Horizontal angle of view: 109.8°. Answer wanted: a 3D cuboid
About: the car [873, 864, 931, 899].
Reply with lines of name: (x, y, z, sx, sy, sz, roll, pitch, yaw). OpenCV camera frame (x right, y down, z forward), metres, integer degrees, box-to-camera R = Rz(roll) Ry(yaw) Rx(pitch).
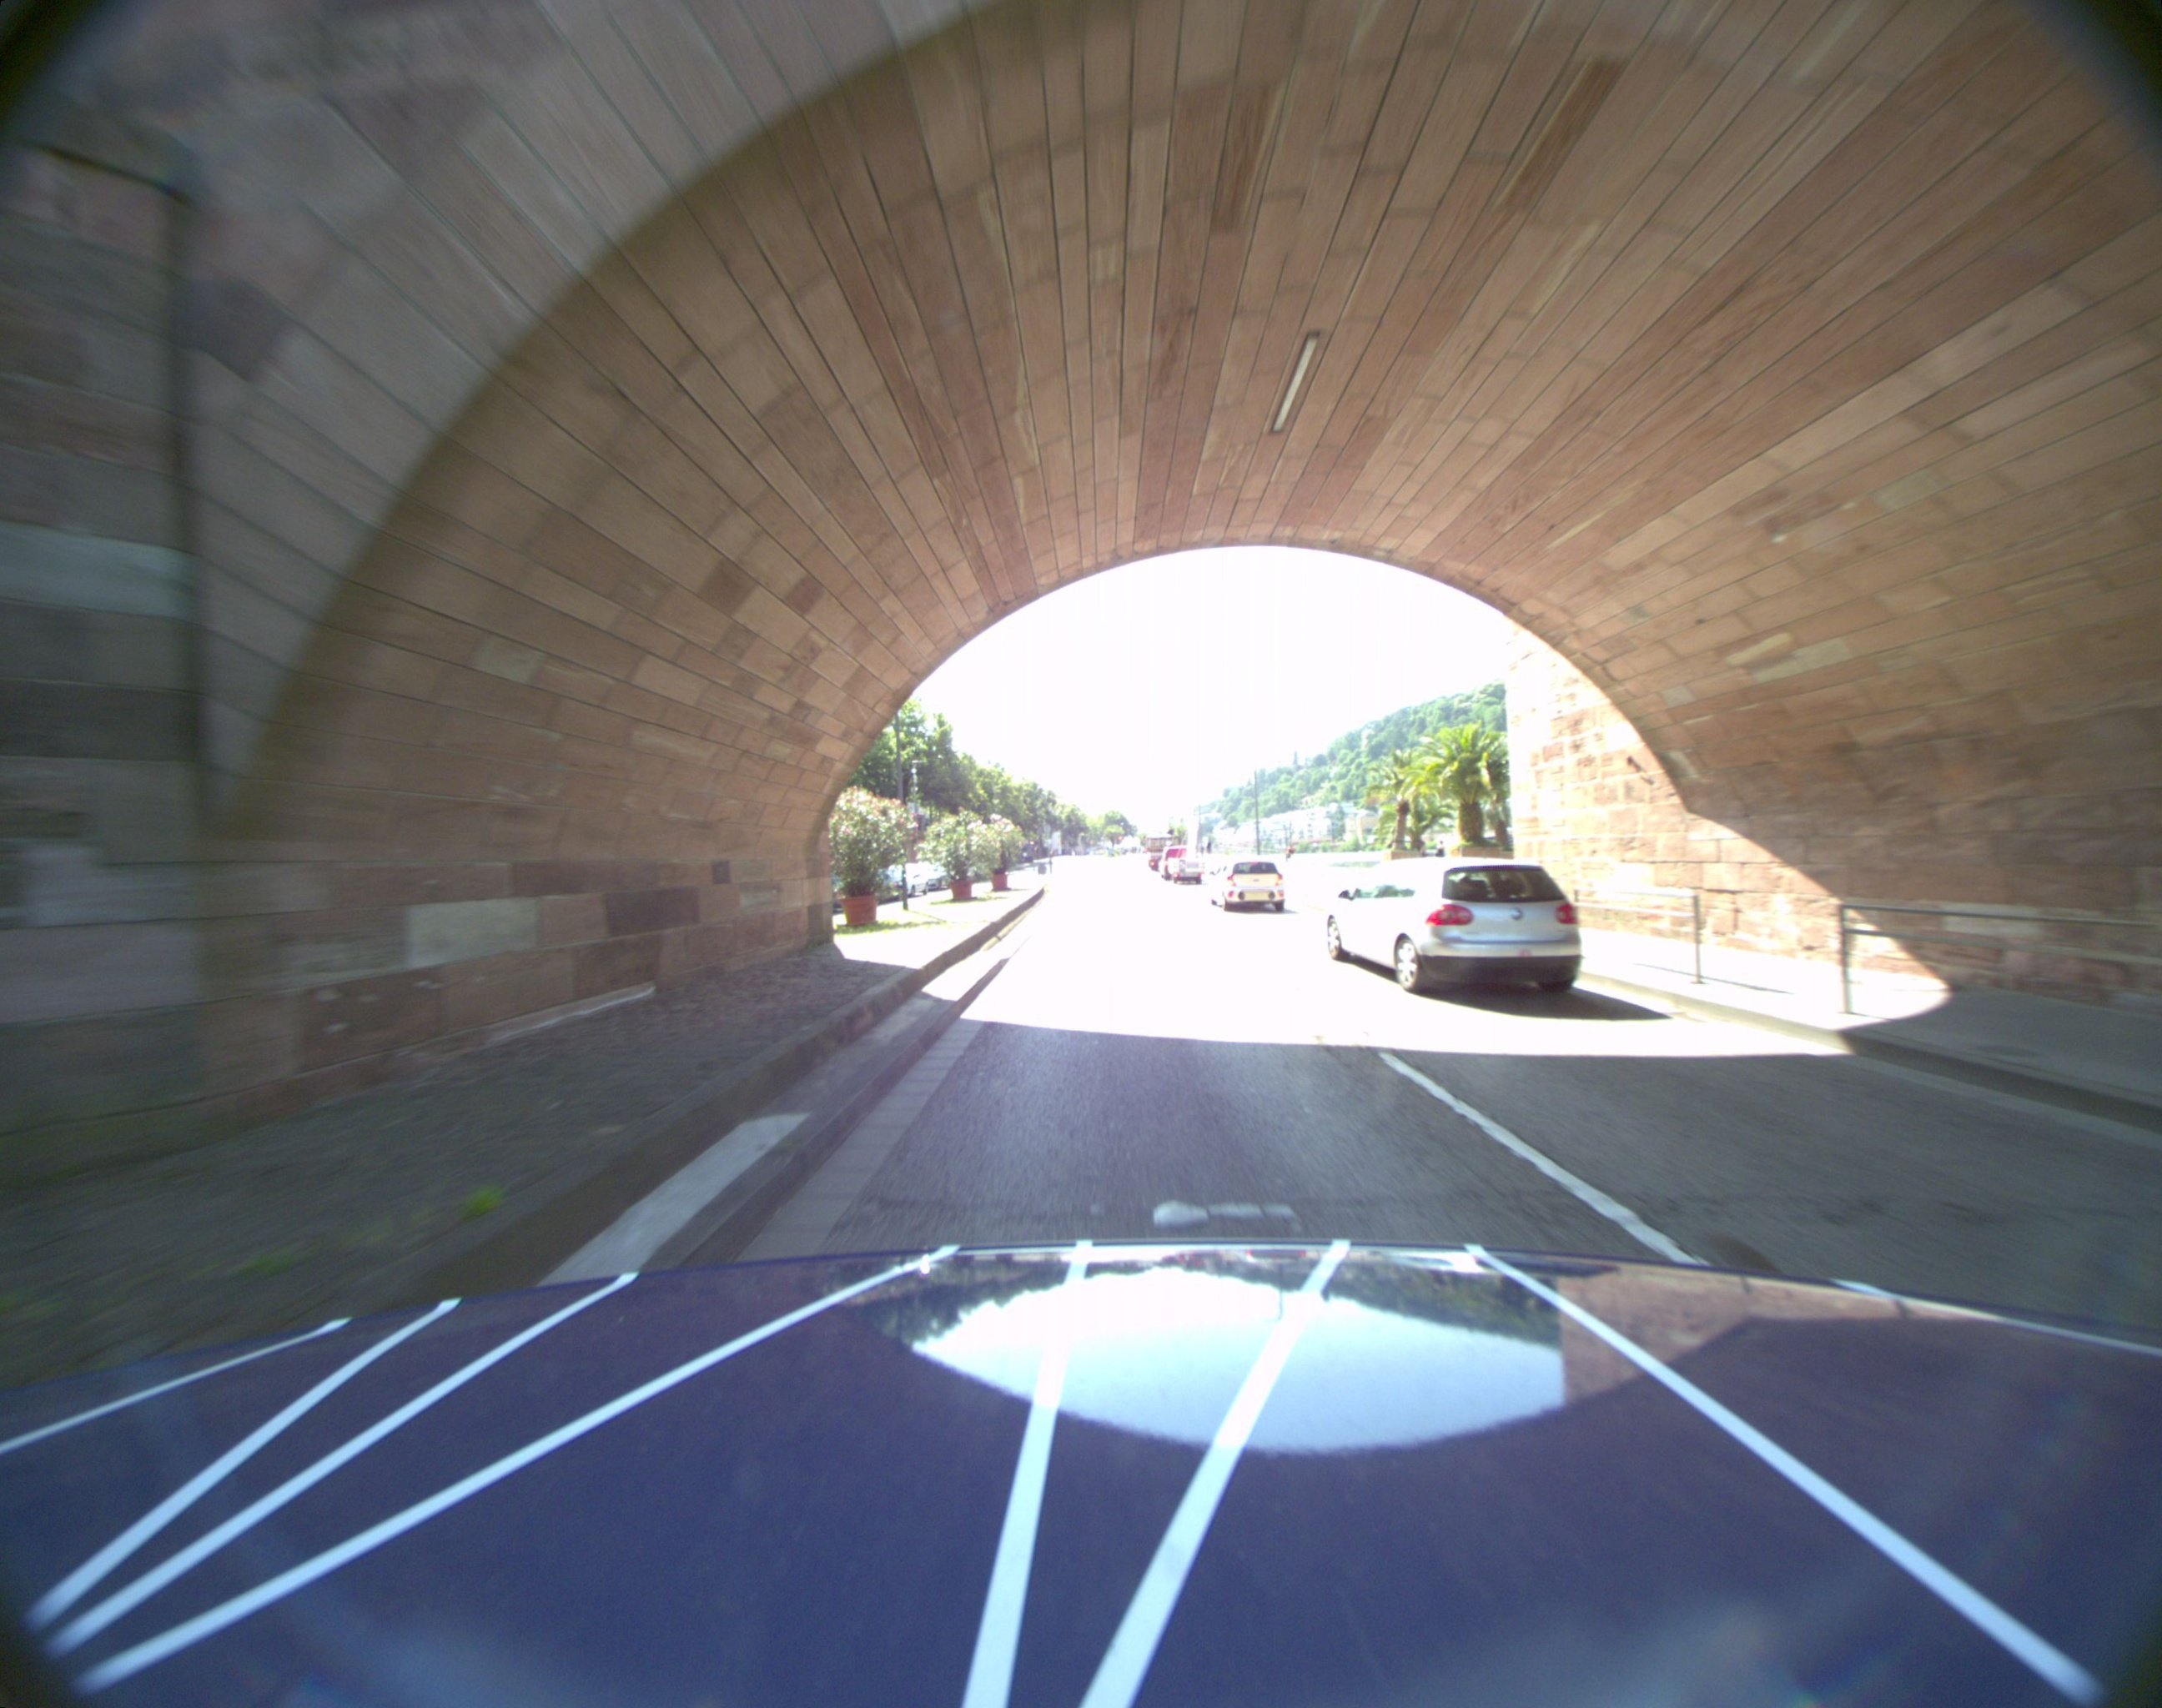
car: (-8.258, 1.243, 35.327, 1.715, 1.449, 3.547, 0, 1, 2)

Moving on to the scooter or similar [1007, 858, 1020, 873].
scooter or similar: (-5.133, 0.910, 58.125, 0.532, 1.083, 1.440, -1, 1, 14)

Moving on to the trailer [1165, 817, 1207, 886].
trailer: (5.231, -0.115, 38.151, 1.746, 3.301, 3.384, 0, 1, 3)

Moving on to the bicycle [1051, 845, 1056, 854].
bicycle: (-3.919, -0.691, 109.284, 0.476, 1.254, 2.162, 0, 1, 3)

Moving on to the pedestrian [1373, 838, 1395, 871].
pedestrian: (16.114, 0.037, 40.413, 0.795, 1.682, 0.846, -2, 1, 5)

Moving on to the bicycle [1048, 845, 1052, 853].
bicycle: (-4.255, -0.648, 105.021, 0.301, 1.043, 2.163, 0, 0, 6)

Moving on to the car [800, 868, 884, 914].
car: (-9.021, 1.354, 28.930, 1.498, 1.476, 3.718, -2, 1, 9)

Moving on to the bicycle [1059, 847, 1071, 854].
bicycle: (-2.531, -0.513, 120.211, 1.753, 1.127, 0.464, 1, 1, 1)

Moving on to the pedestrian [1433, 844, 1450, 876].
pedestrian: (18.267, 0.314, 38.525, 0.594, 1.592, 0.680, -2, 1, 15)

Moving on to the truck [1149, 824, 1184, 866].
truck: (7.238, -0.814, 65.158, 2.648, 3.437, 7.872, 0, 1, 4)

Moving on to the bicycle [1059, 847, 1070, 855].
bicycle: (-2.554, -0.488, 119.240, 1.753, 1.127, 0.540, 1, 1, -2)

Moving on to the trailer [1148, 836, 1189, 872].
trailer: (6.441, -0.063, 56.818, 2.703, 2.516, 6.947, -1, 2, 4)

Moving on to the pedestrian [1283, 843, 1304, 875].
pedestrian: (11.686, 0.282, 41.767, 0.818, 1.691, 1.151, -2, 1, 2)

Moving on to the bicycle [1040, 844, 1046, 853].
bicycle: (-4.921, -0.717, 98.603, 0.345, 1.106, 1.920, -1, 1, 9)

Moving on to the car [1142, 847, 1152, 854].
car: (15.455, -0.838, 177.283, 1.998, 1.444, 4.261, -3, 1, 3)

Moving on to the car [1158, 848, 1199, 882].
car: (5.470, 0.590, 43.086, 1.879, 1.817, 4.544, -1, 0, 2)

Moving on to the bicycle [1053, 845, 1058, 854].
bicycle: (-3.723, -0.622, 111.537, 0.476, 1.254, 2.162, 0, 1, 3)

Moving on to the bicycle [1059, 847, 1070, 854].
bicycle: (-2.557, -0.498, 119.804, 1.753, 1.127, 0.464, 1, 1, 1)

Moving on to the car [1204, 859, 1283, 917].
car: (4.531, 0.897, 21.630, 1.538, 1.428, 3.728, -1, 1, 2)

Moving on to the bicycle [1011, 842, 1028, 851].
bicycle: (-6.963, -0.867, 85.661, 1.858, 0.999, 0.299, -2, 1, 2)

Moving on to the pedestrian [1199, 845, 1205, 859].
pedestrian: (14.543, -0.210, 91.443, 0.713, 1.696, 0.846, -1, 1, 7)

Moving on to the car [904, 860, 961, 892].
car: (-7.861, 1.115, 40.573, 1.757, 1.424, 4.756, -2, 1, 4)

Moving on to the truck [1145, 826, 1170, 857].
truck: (9.163, -1.472, 90.880, 2.647, 3.456, 11.110, -1, 1, 6)

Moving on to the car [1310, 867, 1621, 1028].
car: (4.323, 0.934, 9.430, 1.727, 1.428, 4.400, -1, 0, 2)
